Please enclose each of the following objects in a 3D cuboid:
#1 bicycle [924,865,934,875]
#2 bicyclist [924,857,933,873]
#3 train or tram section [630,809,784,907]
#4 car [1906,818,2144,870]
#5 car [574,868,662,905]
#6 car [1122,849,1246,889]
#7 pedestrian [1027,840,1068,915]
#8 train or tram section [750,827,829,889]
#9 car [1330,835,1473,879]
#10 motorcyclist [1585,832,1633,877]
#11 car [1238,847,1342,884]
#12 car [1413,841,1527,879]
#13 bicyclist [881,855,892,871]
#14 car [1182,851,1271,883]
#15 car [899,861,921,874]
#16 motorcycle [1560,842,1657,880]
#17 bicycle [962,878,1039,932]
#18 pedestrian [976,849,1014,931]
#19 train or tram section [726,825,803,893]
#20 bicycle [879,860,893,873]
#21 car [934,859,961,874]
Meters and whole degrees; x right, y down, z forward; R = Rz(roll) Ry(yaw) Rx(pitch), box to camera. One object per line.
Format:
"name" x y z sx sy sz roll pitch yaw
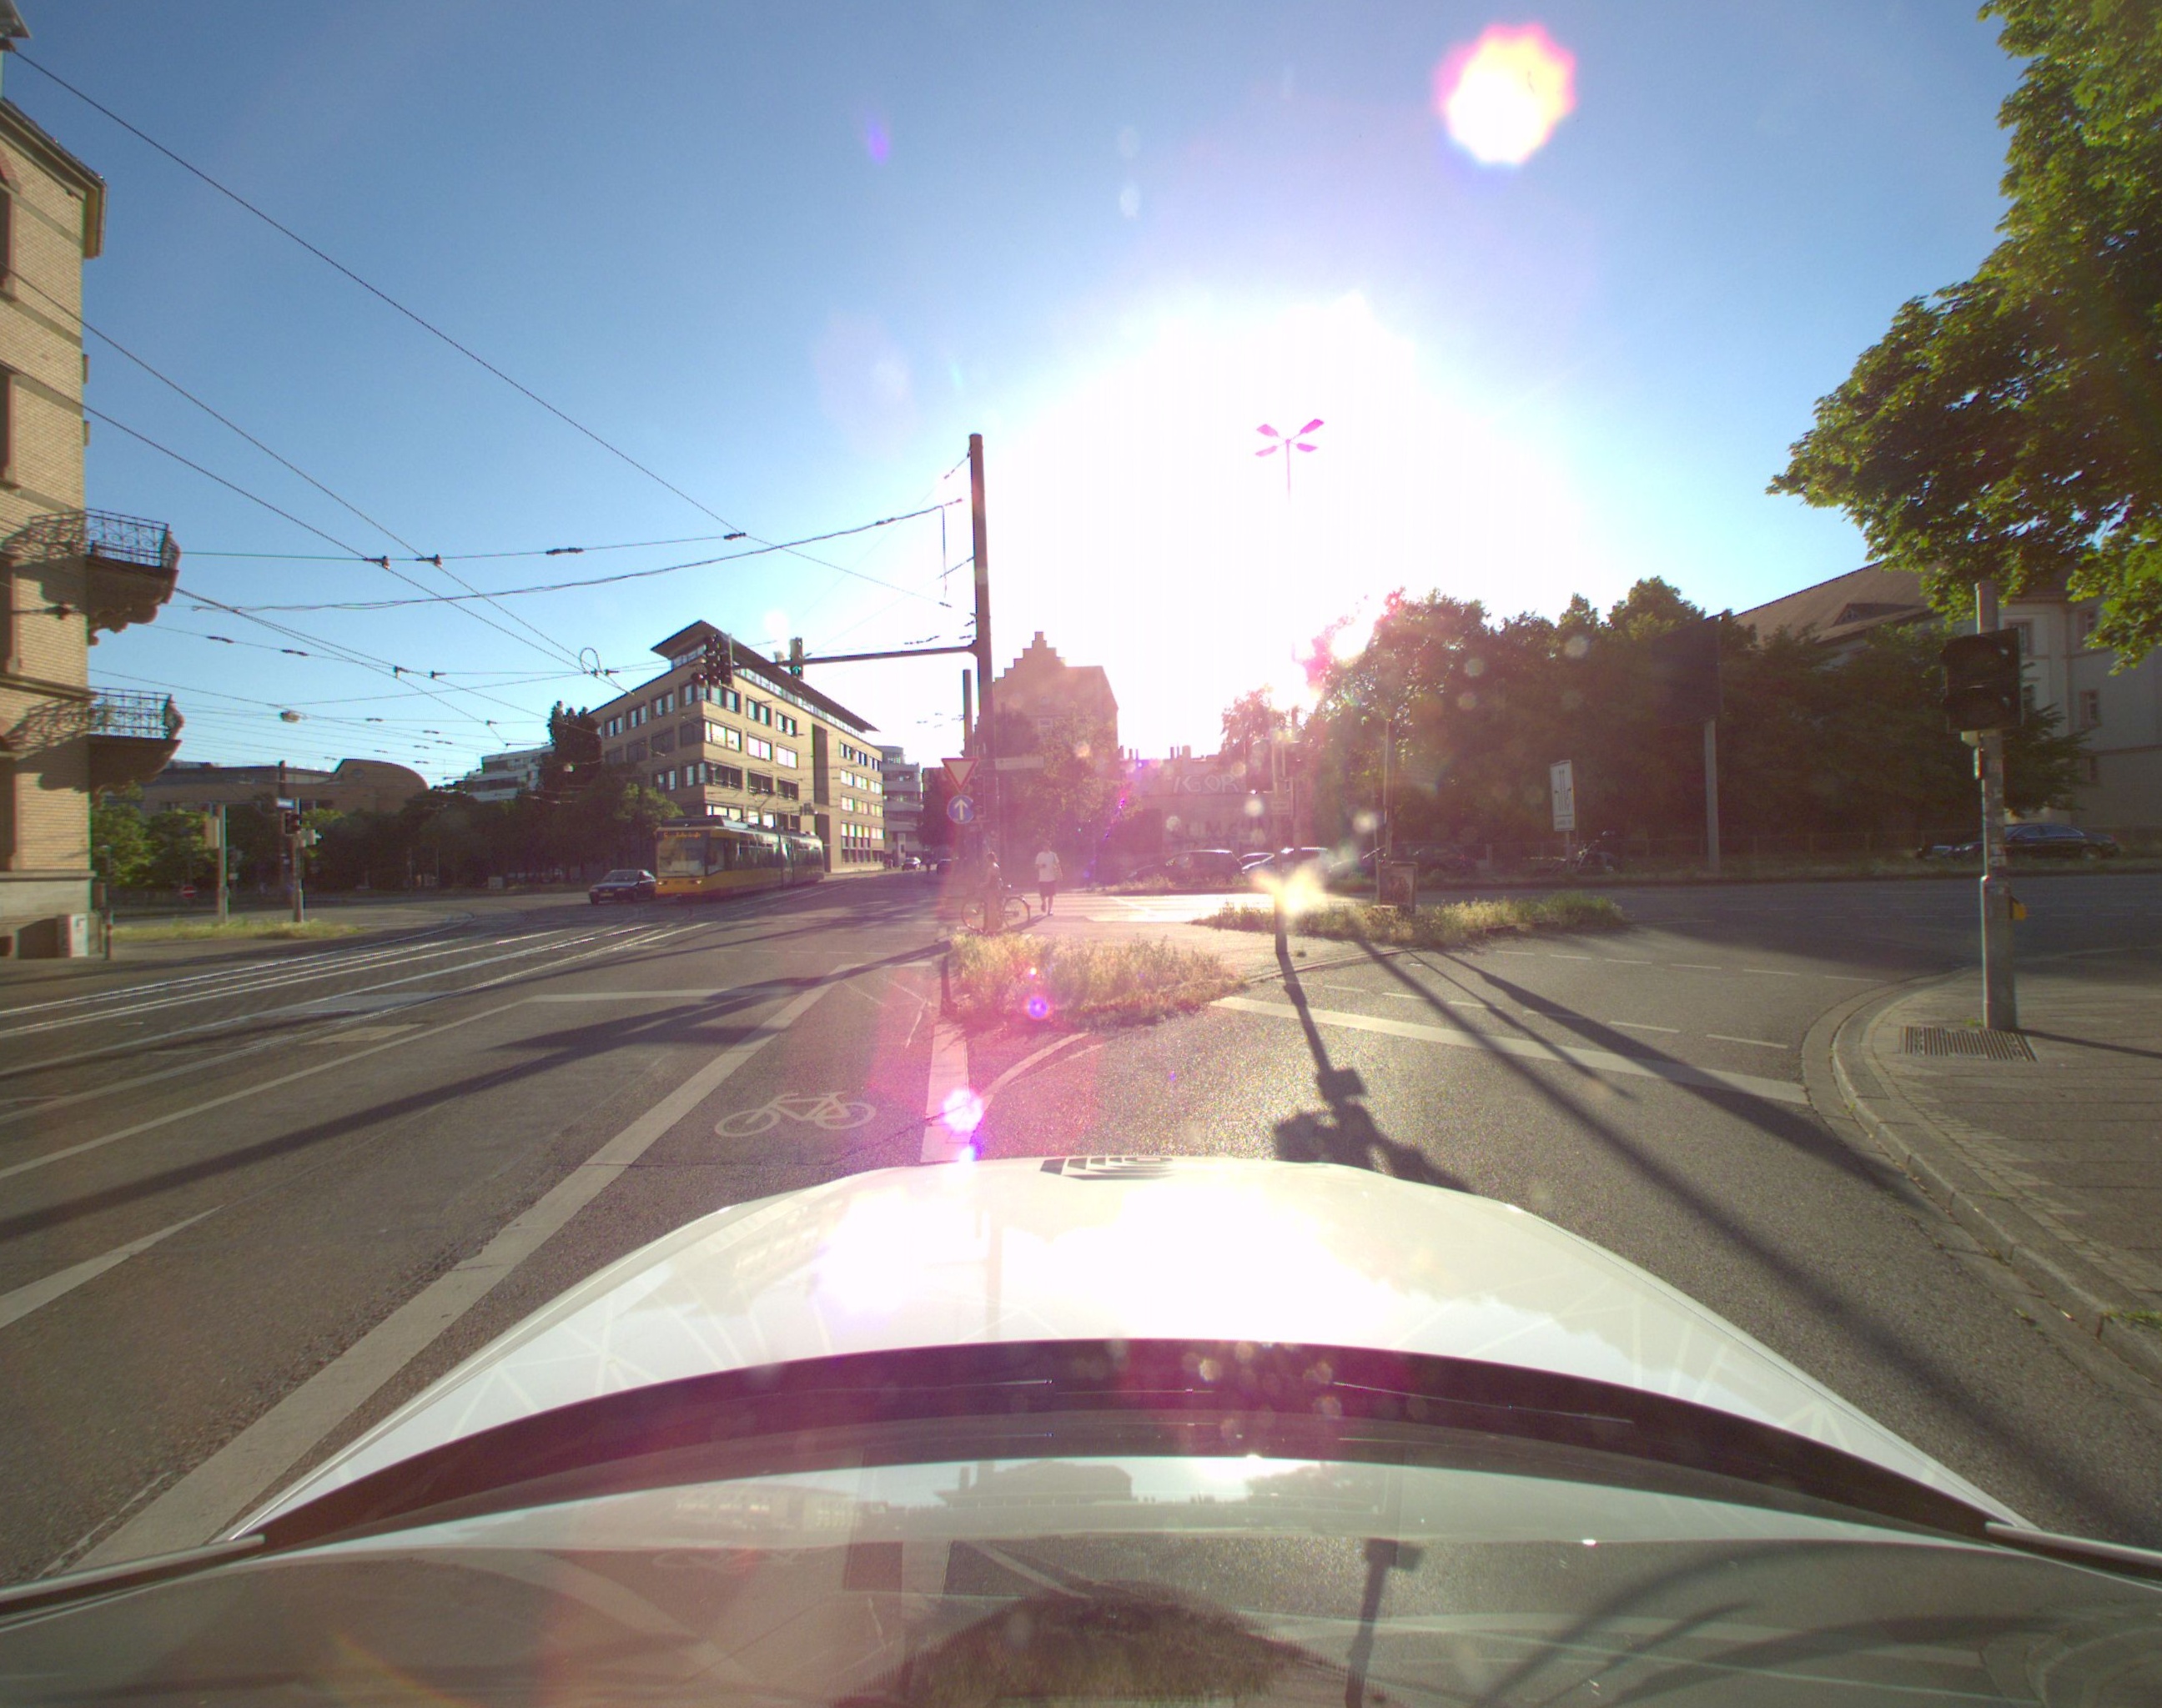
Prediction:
"bicycle" -14.220 1.504 76.057 0.693 0.877 2.024 -2 0 -4
"bicyclist" -14.252 1.035 76.142 0.672 1.522 0.812 -2 0 -5
"train or tram section" -16.056 0.184 36.336 2.860 3.508 12.971 -2 0 -10
"car" 31.914 -0.317 27.718 5.244 1.496 2.005 -2 0 8
"car" -19.350 1.314 34.227 1.808 1.380 4.150 -2 0 -9
"car" 3.782 0.543 29.646 4.202 1.296 1.732 -2 0 16
"pedestrian" -0.846 0.571 20.334 0.907 1.789 0.825 -2 0 -6
"train or tram section" -18.864 0.269 53.448 2.860 3.508 11.259 -2 0 -10
"car" 10.728 0.117 27.590 4.330 1.296 1.731 -2 0 15
"motorcyclist" 16.980 0.008 26.224 1.050 1.398 0.858 -2 0 15
"car" 8.206 0.445 32.141 3.855 1.319 1.730 -2 0 12
"car" 16.454 0.232 34.618 3.964 1.464 1.864 -2 0 8
"bicyclist" -25.379 1.212 106.243 1.025 2.014 1.248 0 -2 3
"car" 6.624 0.586 36.995 3.855 1.296 1.730 -2 0 12
"car" -22.486 1.777 107.252 1.809 1.614 4.465 -2 0 1
"motorcycle" 16.928 0.230 26.206 2.444 1.108 0.865 -2 0 14
"bicycle" -1.661 1.031 16.616 1.650 1.029 0.402 -2 -1 34
"pedestrian" -1.755 0.716 16.604 0.519 1.631 0.492 -2 -1 34
"train or tram section" -17.495 0.275 45.338 2.861 3.508 5.285 -2 0 -10
"bicycle" -25.373 1.666 106.197 1.026 1.651 2.562 -2 0 3
"car" -12.979 1.193 79.417 1.777 1.388 4.003 -2 0 3
